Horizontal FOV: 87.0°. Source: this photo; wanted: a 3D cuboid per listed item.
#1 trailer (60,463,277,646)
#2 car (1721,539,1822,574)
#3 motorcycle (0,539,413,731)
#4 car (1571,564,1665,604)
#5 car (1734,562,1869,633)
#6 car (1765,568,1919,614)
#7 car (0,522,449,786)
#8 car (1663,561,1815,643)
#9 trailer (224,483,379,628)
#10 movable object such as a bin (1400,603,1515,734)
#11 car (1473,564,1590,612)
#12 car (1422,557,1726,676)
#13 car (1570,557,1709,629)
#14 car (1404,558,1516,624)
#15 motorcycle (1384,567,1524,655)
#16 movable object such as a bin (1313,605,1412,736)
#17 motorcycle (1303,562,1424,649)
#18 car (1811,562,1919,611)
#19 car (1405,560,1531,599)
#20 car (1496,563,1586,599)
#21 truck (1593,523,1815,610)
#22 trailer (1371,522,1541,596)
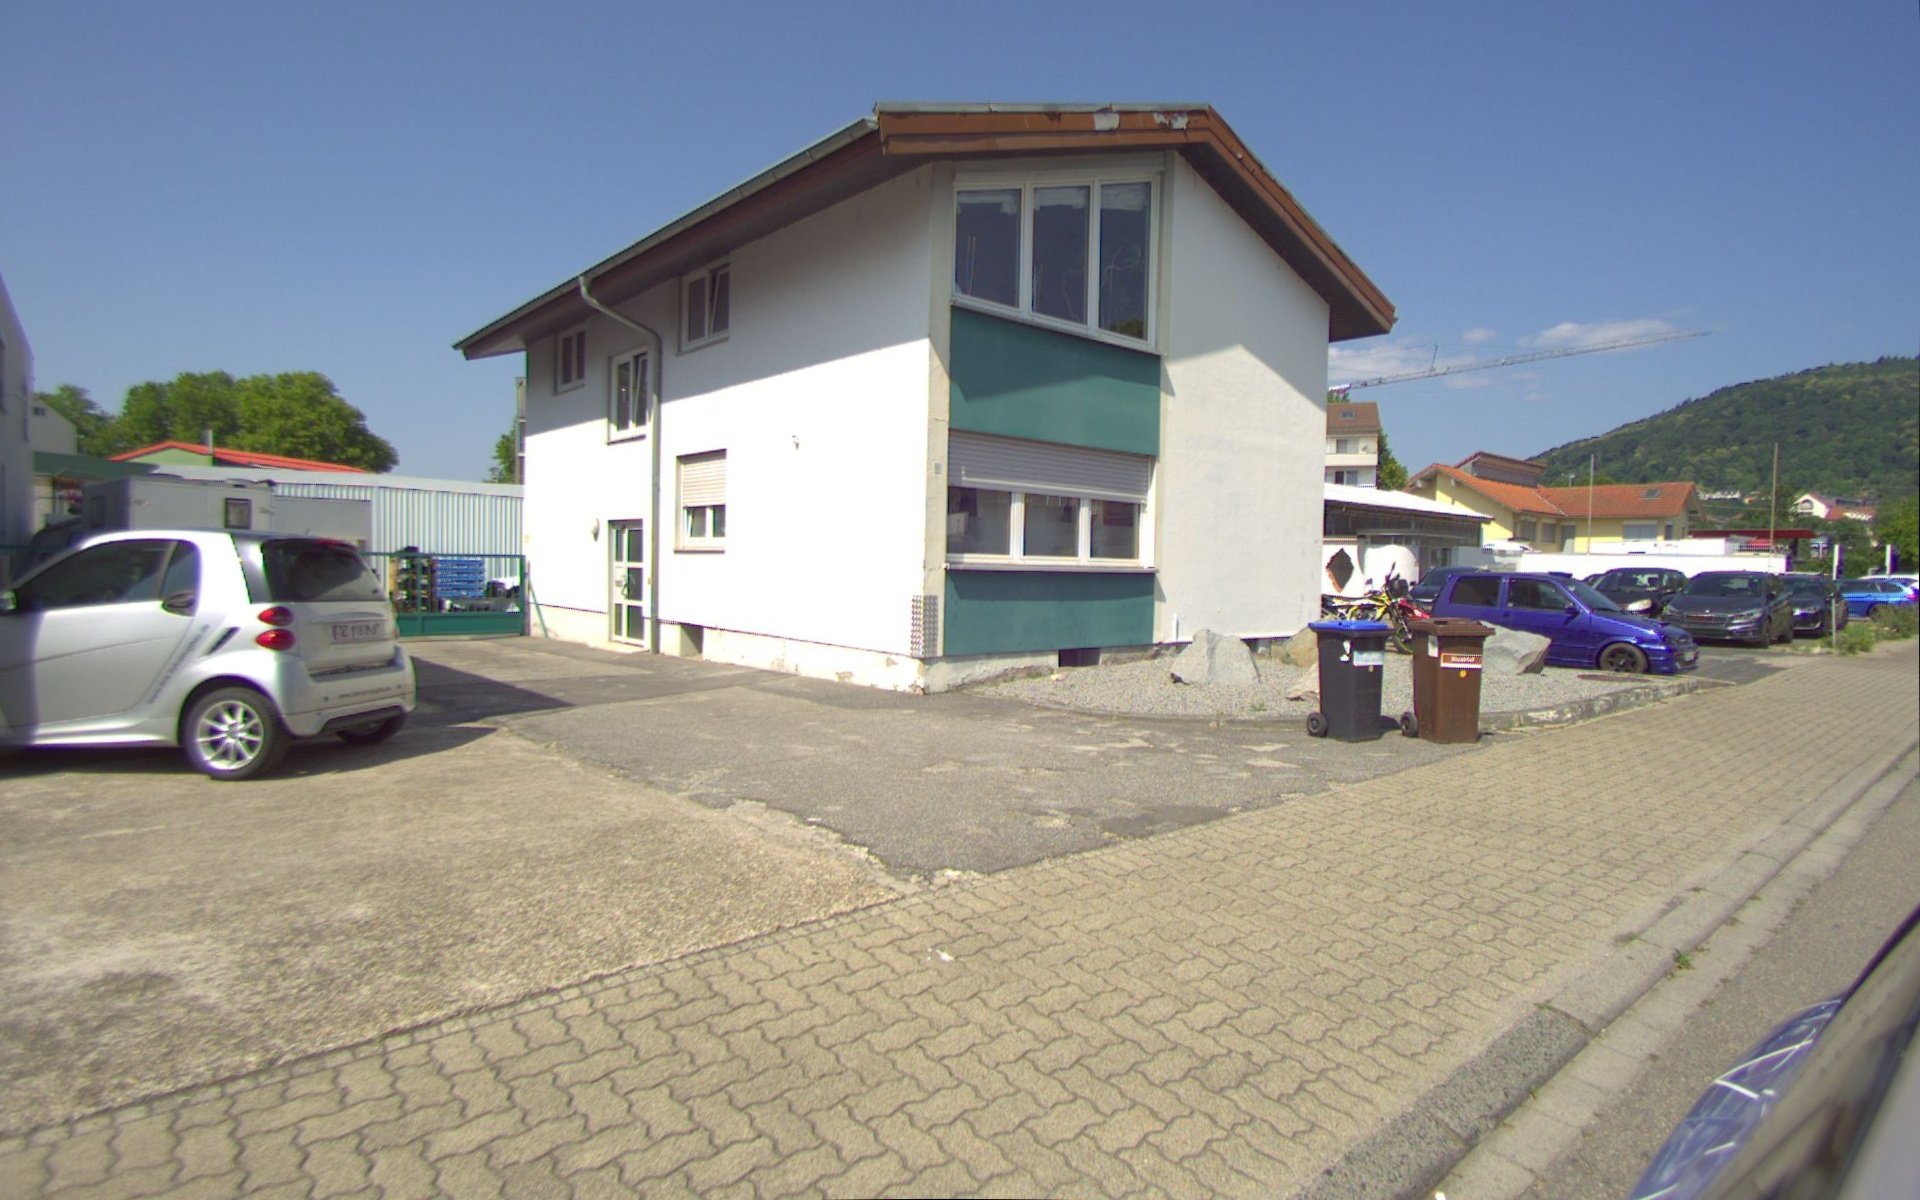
[{"bbox_3d":[-14.198,-0.802,18.093,4.114,2.909,2.021,3,1,37],"label":"trailer"},{"bbox_3d":[65.916,-3.594,82.317,5.961,2.711,2.239,2,3,27],"label":"car"},{"bbox_3d":[-7.207,0.236,9.190,3.541,1.510,1.779,1,2,1],"label":"motorcycle"},{"bbox_3d":[26.560,-0.693,40.824,4.111,1.459,1.892,-2,4,-38],"label":"car"},{"bbox_3d":[21.051,-0.132,25.241,4.866,1.587,1.862,-1,3,-42],"label":"car"},{"bbox_3d":[30.404,-0.320,34.535,1.859,1.459,4.360,-1,1,-41],"label":"car"},{"bbox_3d":[-5.803,0.266,7.033,3.633,1.558,1.779,1,2,1],"label":"car"},{"bbox_3d":[16.859,-0.024,21.828,4.219,1.577,1.815,-1,3,-42],"label":"car"},{"bbox_3d":[-14.687,-0.974,22.495,4.126,2.909,2.015,3,2,44],"label":"trailer"},{"bbox_3d":[3.862,0.519,7.890,0.546,0.957,0.570,1,2,-7],"label":"movable object such as a bin"},{"bbox_3d":[17.171,-0.391,30.353,4.026,1.340,1.646,-1,3,-38],"label":"car"},{"bbox_3d":[8.475,0.151,14.149,1.643,1.416,3.260,1,2,-40],"label":"car"},{"bbox_3d":[16.787,-0.208,24.961,3.552,1.614,1.765,-1,3,-38],"label":"car"},{"bbox_3d":[13.044,-0.299,26.284,1.757,1.514,4.093,4,4,38],"label":"car"},{"bbox_3d":[8.080,0.138,16.606,0.783,1.295,1.872,-1,4,-43],"label":"motorcycle"},{"bbox_3d":[3.159,0.536,7.958,0.478,0.957,0.516,0,3,-29],"label":"movable object such as a bin"},{"bbox_3d":[6.551,0.057,16.524,1.733,1.295,0.792,3,3,19],"label":"motorcycle"},{"bbox_3d":[34.930,-0.535,38.065,1.736,1.703,4.206,-2,-1,-41],"label":"car"},{"bbox_3d":[18.373,-0.763,36.605,4.099,1.340,1.719,0,2,-20],"label":"car"},{"bbox_3d":[24.723,-0.849,43.010,3.953,1.409,1.892,-2,4,-37],"label":"car"},{"bbox_3d":[32.827,-1.376,44.976,2.482,3.466,7.531,-2,0,-40],"label":"truck"},{"bbox_3d":[28.280,-2.382,58.185,3.010,3.910,8.364,-2,3,-35],"label":"trailer"}]
